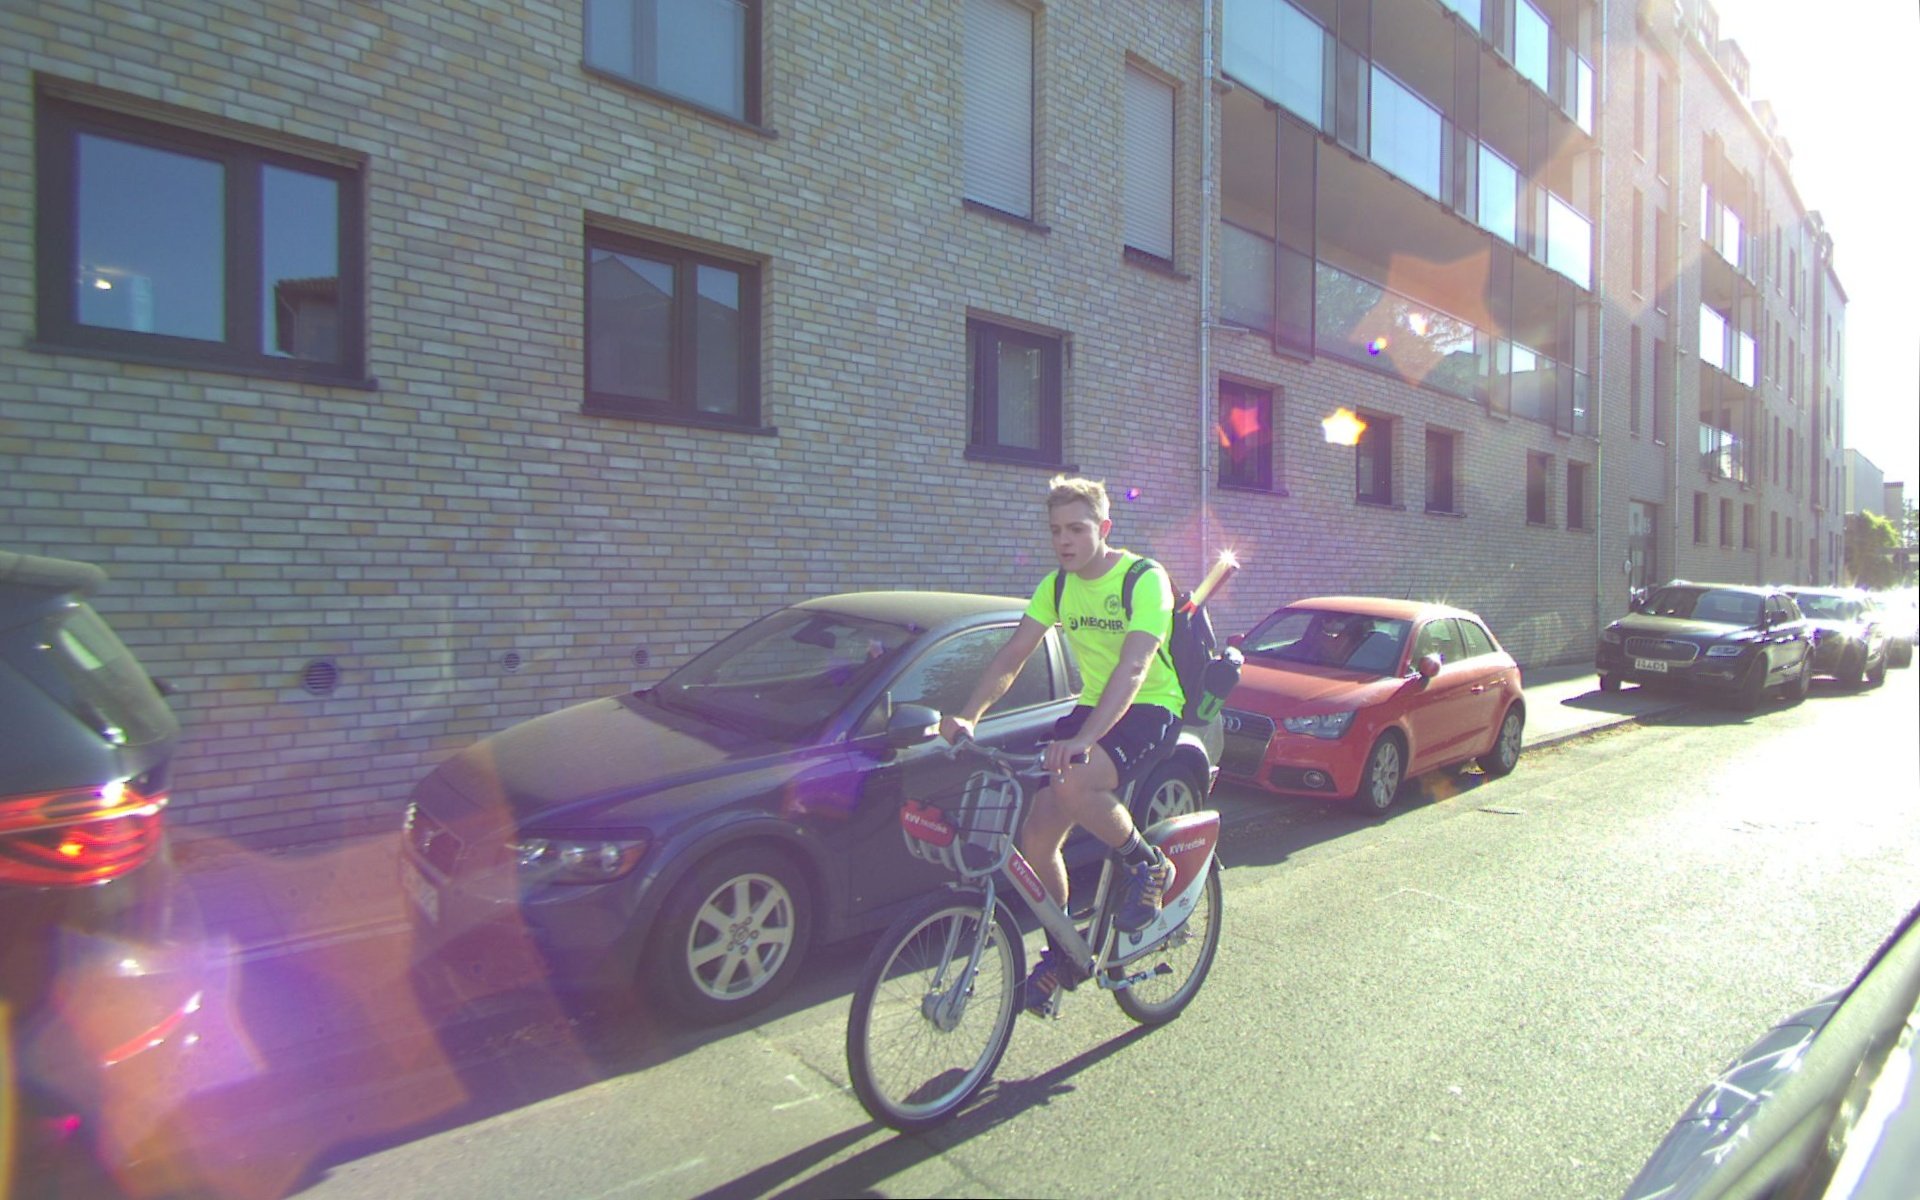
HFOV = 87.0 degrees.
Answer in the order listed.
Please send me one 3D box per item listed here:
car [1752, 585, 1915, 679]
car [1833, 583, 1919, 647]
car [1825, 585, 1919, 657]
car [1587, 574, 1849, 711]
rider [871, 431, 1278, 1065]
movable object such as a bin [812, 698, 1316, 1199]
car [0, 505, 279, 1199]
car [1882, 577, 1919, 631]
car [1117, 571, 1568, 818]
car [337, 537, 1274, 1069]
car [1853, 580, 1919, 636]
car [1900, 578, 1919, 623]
[{"bbox_3d":[16.002,0.494,18.468,4.198,1.485,1.818,-1,2,-43],"label":"car"},{"bbox_3d":[25.054,0.343,27.525,1.665,1.534,4.151,4,3,45],"label":"car"},{"bbox_3d":[21.968,0.423,24.140,1.697,1.485,4.645,3,3,44],"label":"car"},{"bbox_3d":[11.275,0.526,14.939,4.685,1.733,1.895,0,1,-37],"label":"car"},{"bbox_3d":[0.377,0.360,3.134,1.065,1.581,0.654,-2,-1,-43],"label":"rider"},{"bbox_3d":[0.436,0.929,3.157,1.810,1.046,0.455,-2,-1,-43],"label":"movable object such as a bin"},{"bbox_3d":[-3.988,0.620,1.503,4.683,1.674,1.995,0,1,-44],"label":"car"},{"bbox_3d":[33.137,0.098,34.960,4.760,1.755,1.668,-1,2,-45],"label":"car"},{"bbox_3d":[3.249,0.550,8.203,4.003,1.421,1.716,-1,5,-42],"label":"car"},{"bbox_3d":[-0.456,0.557,5.096,4.292,1.524,1.996,0,1,-42],"label":"car"},{"bbox_3d":[29.243,0.198,31.481,4.548,1.548,1.728,-1,5,-43],"label":"car"},{"bbox_3d":[36.933,0.030,38.456,1.651,1.611,4.274,4,3,44],"label":"car"}]
